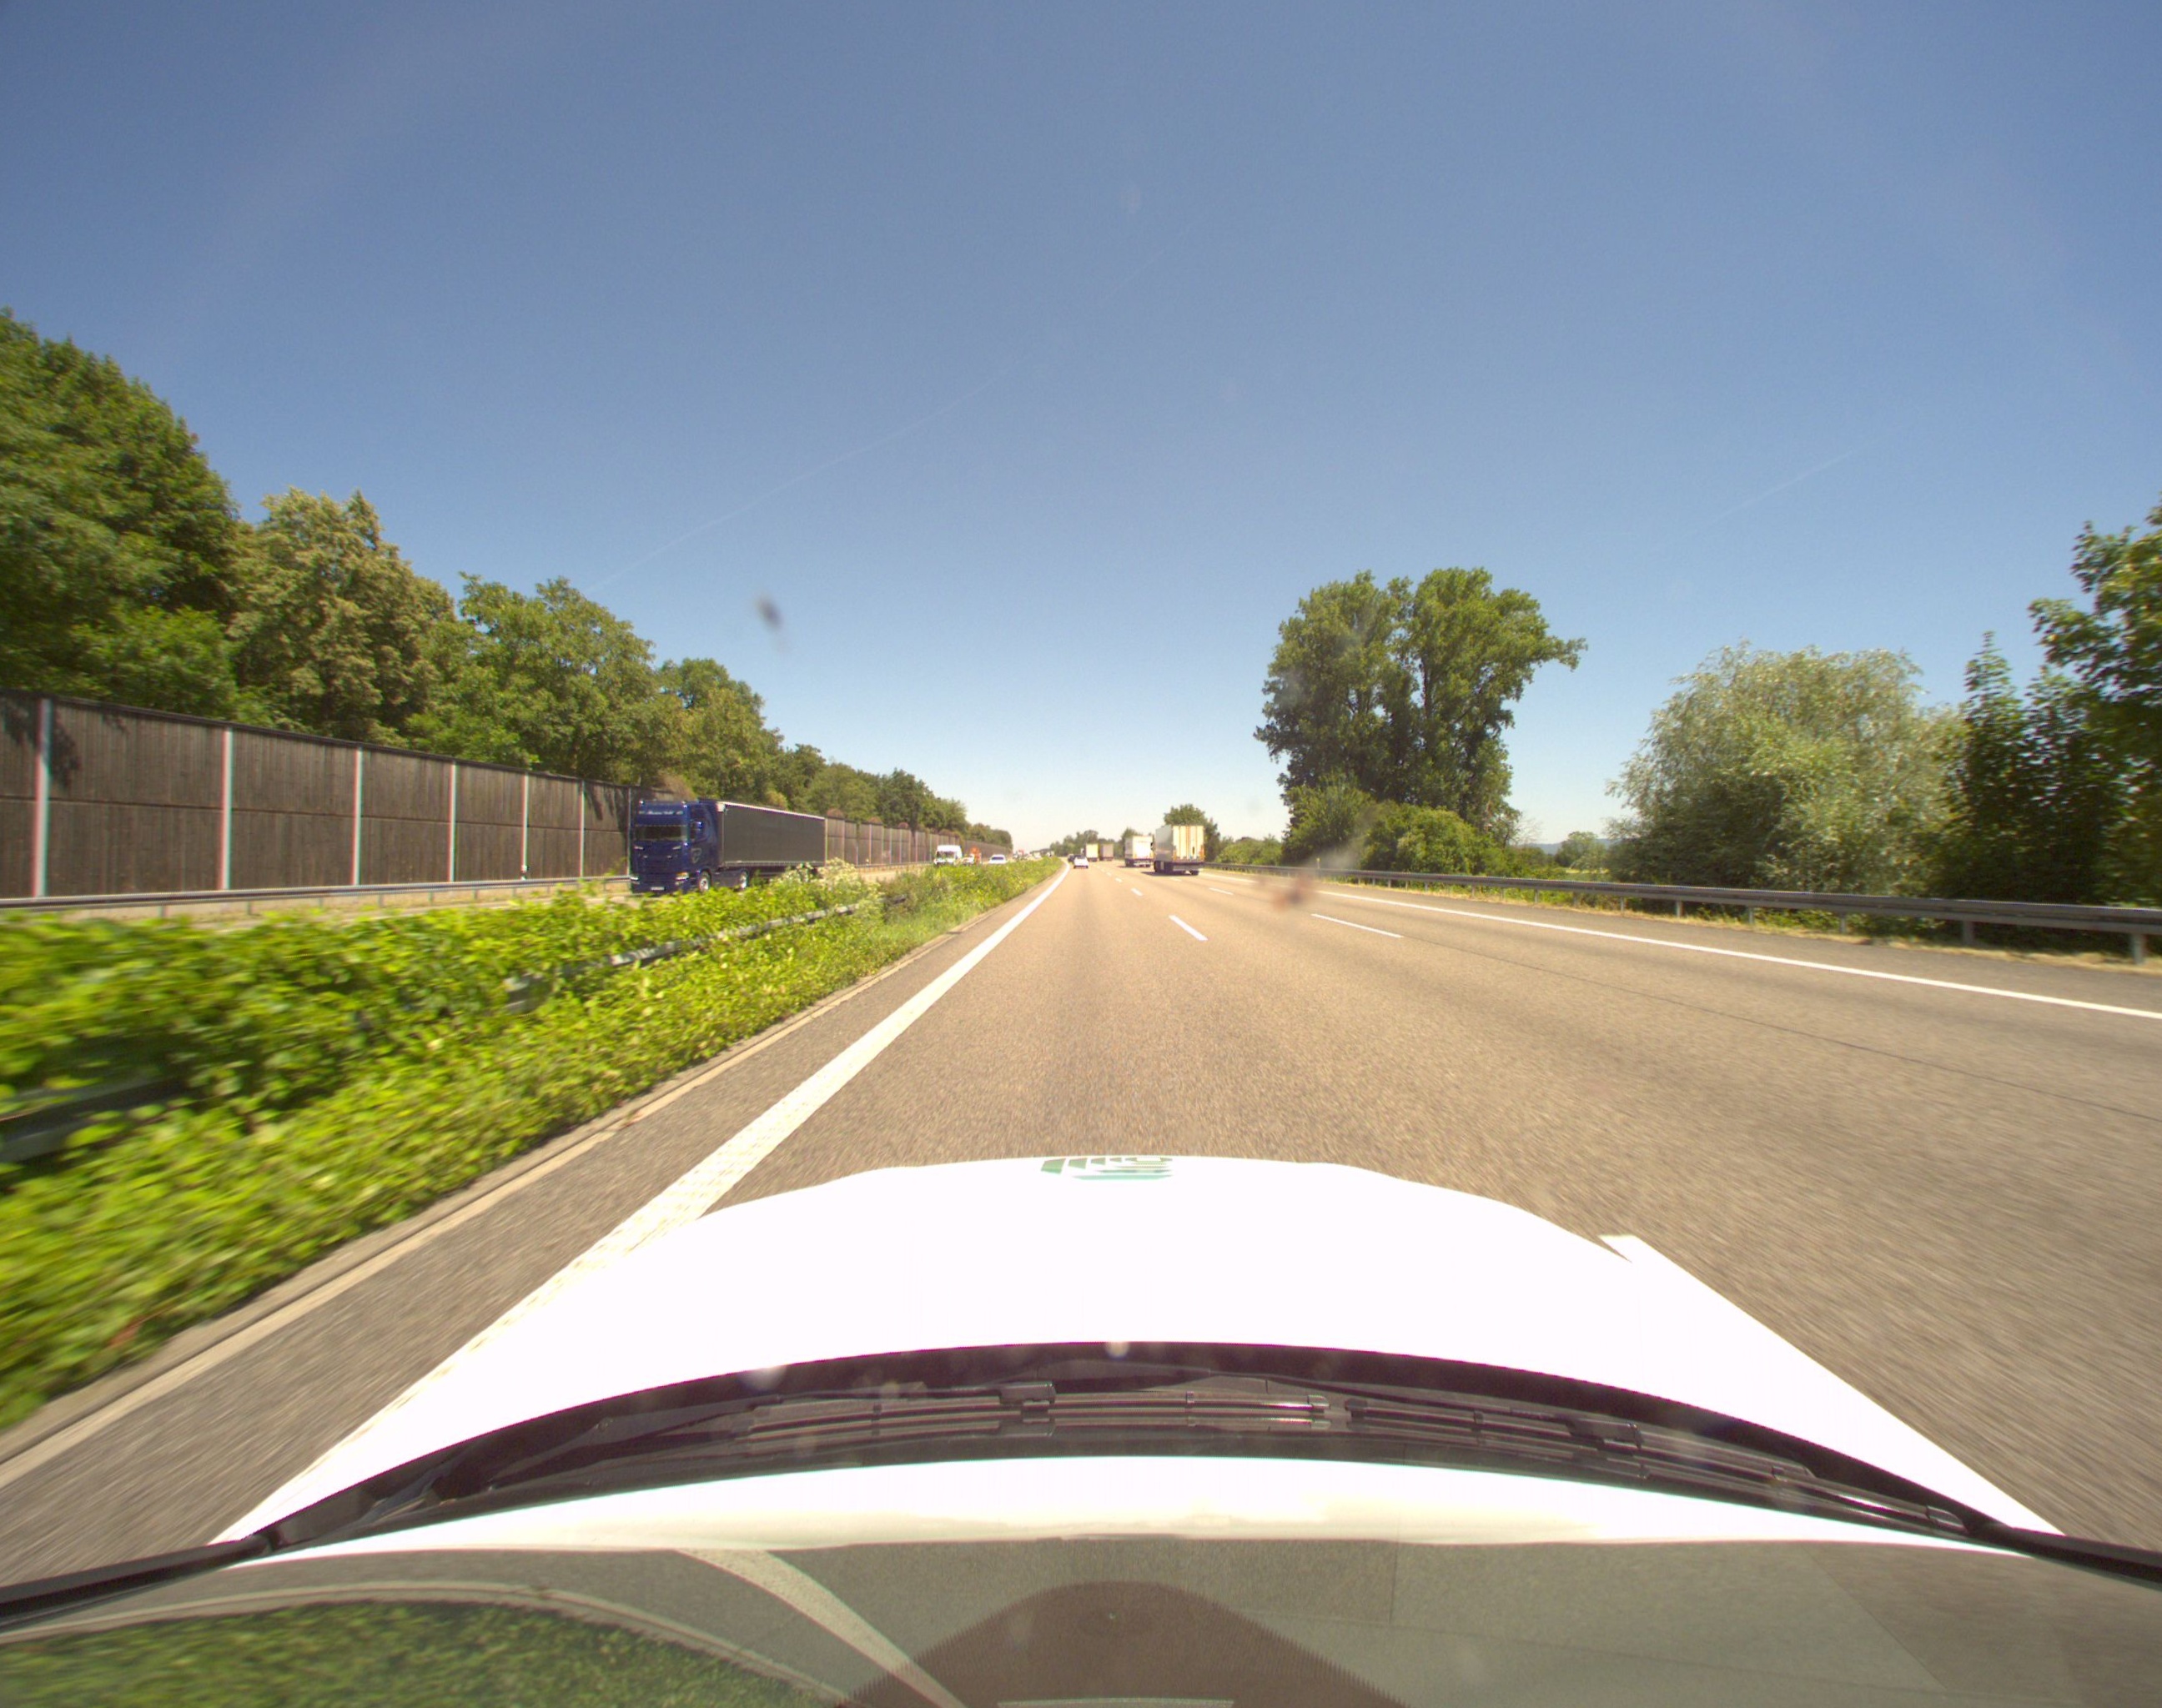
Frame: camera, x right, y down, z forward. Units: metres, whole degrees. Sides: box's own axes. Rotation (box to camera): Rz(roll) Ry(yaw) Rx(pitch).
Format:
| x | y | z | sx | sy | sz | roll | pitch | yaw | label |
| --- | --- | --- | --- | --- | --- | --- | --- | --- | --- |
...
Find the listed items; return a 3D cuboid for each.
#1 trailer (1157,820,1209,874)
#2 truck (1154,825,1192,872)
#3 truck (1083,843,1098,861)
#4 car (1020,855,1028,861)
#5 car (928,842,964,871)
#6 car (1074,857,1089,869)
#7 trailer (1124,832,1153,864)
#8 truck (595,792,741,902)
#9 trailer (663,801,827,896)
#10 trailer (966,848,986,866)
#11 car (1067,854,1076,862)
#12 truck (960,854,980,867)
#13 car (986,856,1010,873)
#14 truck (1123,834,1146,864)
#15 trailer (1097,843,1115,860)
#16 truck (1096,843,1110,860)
| x | y | z | sx | sy | sz | roll | pitch | yaw | label |
| --- | --- | --- | --- | --- | --- | --- | --- | --- | --- |
| 8.344 | -0.524 | 68.182 | 2.949 | 4.106 | 12.534 | 0 | 0 | 1 | trailer |
| 8.384 | -0.513 | 74.961 | 2.949 | 4.106 | 6.208 | 0 | 0 | 1 | truck |
| 2.222 | -0.377 | 187.162 | 2.700 | 4.086 | 13.461 | 1 | 0 | -2 | truck |
| -15.963 | 1.042 | 227.461 | 1.991 | 1.647 | 4.682 | 0 | 0 | -6 | car |
| -12.574 | 0.238 | 76.338 | 2.158 | 2.540 | 6.788 | 1 | 0 | 0 | car |
| 0.005 | 1.075 | 101.952 | 1.850 | 1.486 | 3.998 | 0 | 0 | -1 | car |
| 7.583 | -0.731 | 109.425 | 2.699 | 4.088 | 14.143 | 0 | 0 | -1 | trailer |
| -16.733 | -0.257 | 33.525 | 2.890 | 4.092 | 6.115 | 0 | 0 | -1 | truck |
| -16.702 | -0.199 | 42.081 | 2.889 | 4.092 | 13.331 | 0 | 0 | 0 | trailer |
| -16.854 | 0.506 | 130.885 | 2.235 | 2.776 | 6.508 | 0 | 0 | 0 | trailer |
| -1.978 | 0.859 | 169.735 | 1.850 | 1.617 | 3.998 | 0 | 0 | -1 | car |
| -16.919 | 0.990 | 124.534 | 2.094 | 1.816 | 6.211 | 0 | 0 | 0 | truck |
| -8.703 | 1.084 | 85.680 | 1.989 | 1.720 | 5.023 | 1 | 0 | 0 | car |
| 7.504 | -0.715 | 114.676 | 2.699 | 4.088 | 6.960 | 0 | 0 | -1 | truck |
| 6.191 | -0.565 | 203.643 | 2.699 | 4.216 | 13.187 | 1 | -1 | -5 | trailer |
| 5.652 | -0.529 | 209.702 | 2.687 | 4.216 | 7.823 | 1 | -1 | -5 | truck |
